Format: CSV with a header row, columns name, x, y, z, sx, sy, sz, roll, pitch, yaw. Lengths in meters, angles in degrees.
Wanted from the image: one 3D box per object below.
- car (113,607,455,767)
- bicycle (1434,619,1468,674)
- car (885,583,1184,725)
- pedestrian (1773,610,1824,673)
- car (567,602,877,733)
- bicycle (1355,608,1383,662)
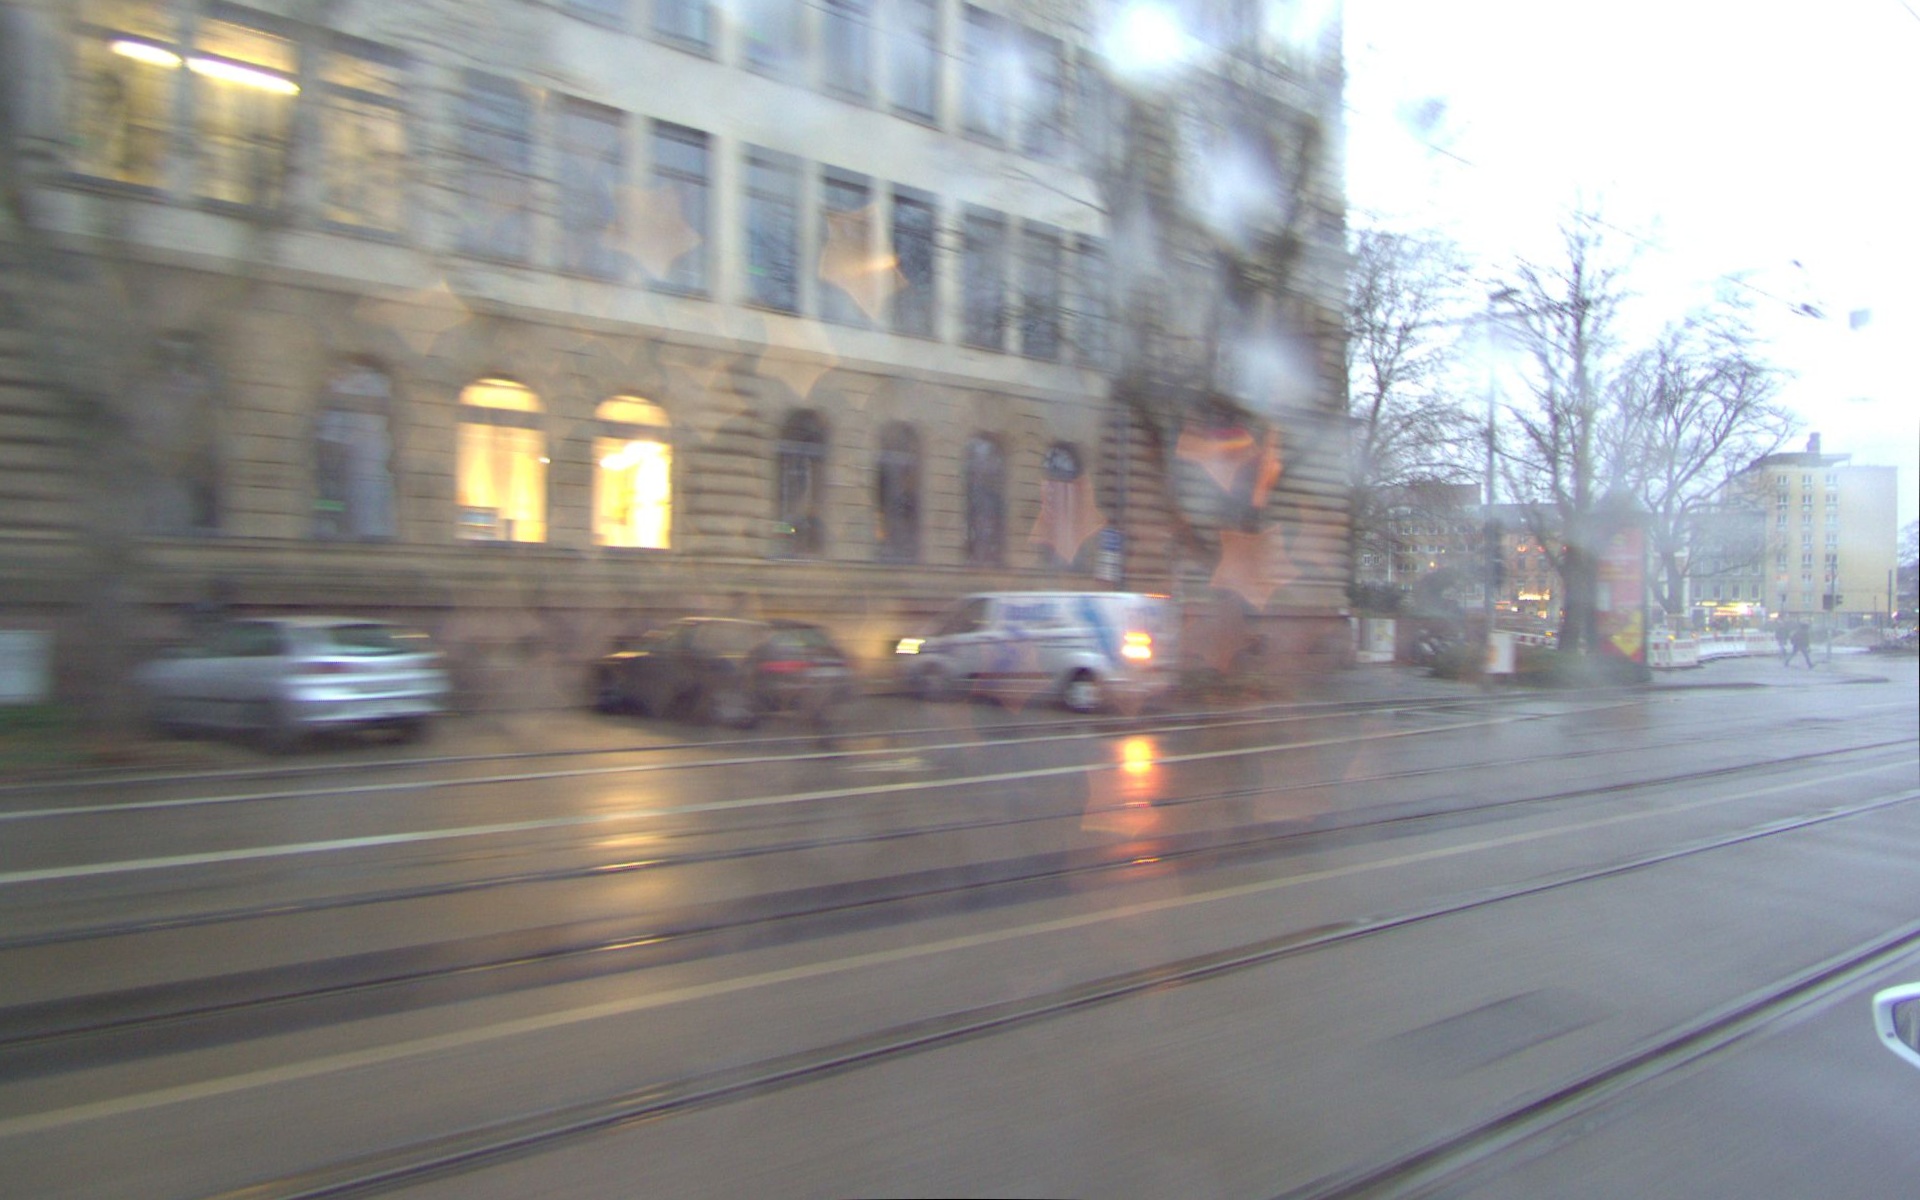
name,x,y,z,sx,sy,sz,roll,pitch,yaw
car,-7.916,0.893,11.740,3.755,1.477,1.636,2,1,26
bicycle,16.537,1.539,33.889,0.699,1.711,2.429,2,1,20
car,1.282,0.817,17.239,4.710,2.061,1.912,2,1,22
pedestrian,33.005,1.626,39.544,1.043,2.402,0.996,2,1,-1
car,-3.497,0.849,14.472,4.400,1.477,1.795,2,1,33
bicycle,14.014,1.172,34.470,0.699,1.711,2.429,2,1,20
